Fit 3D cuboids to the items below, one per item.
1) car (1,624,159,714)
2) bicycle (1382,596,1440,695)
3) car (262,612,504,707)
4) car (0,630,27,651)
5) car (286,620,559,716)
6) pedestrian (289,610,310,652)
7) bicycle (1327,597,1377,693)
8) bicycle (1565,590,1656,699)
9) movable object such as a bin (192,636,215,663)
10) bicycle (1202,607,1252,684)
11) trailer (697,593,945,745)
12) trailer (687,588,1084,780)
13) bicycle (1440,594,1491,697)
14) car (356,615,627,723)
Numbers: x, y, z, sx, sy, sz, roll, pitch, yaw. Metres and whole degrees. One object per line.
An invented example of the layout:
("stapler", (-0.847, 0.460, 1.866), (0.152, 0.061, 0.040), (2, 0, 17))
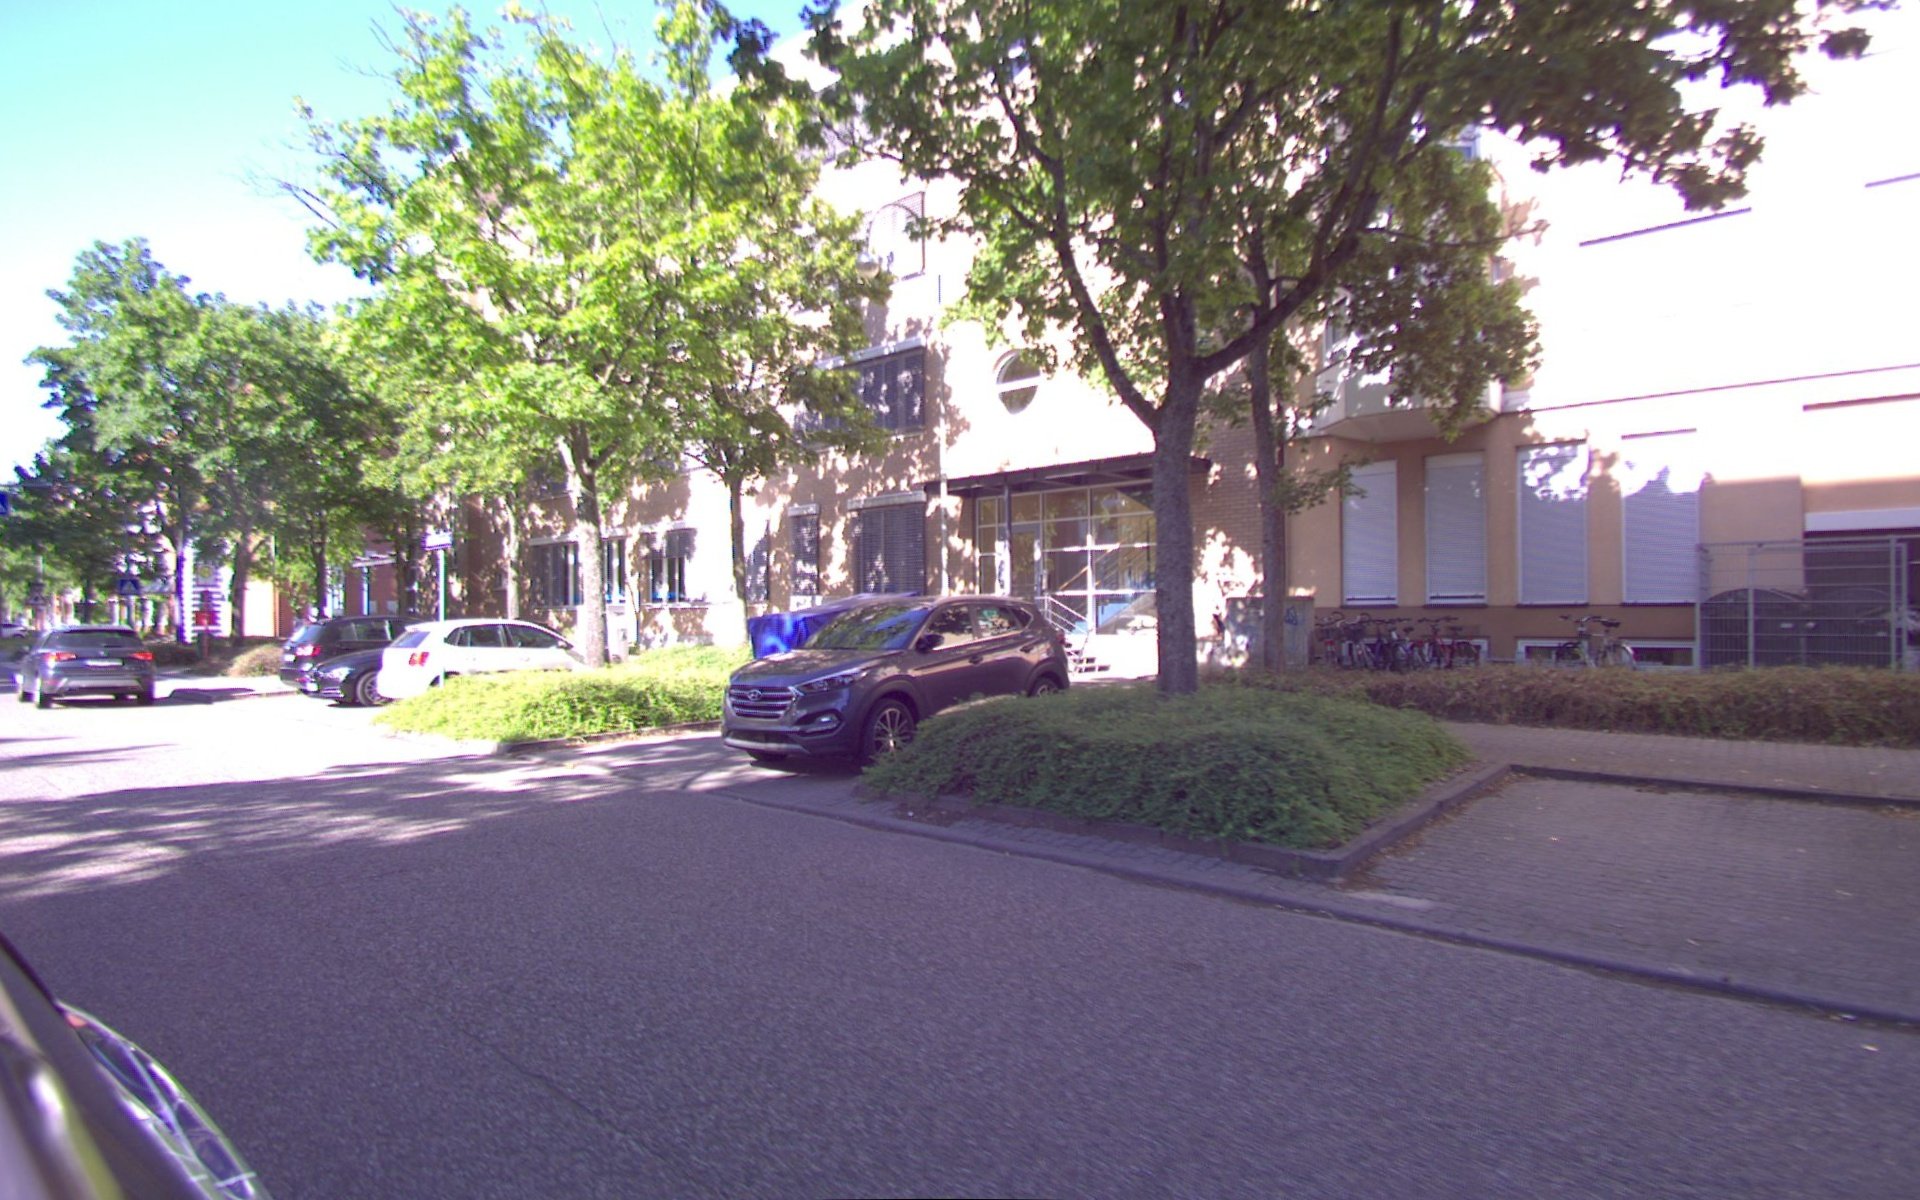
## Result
("car", (-16.879, 1.237, 19.354), (3.998, 1.523, 1.761), (-2, -2, 41))
("bicycle", (6.926, 0.664, 15.604), (0.609, 1.419, 1.720), (-1, 0, 18))
("car", (-11.754, 1.136, 20.807), (1.727, 1.582, 3.947), (-2, 1, 40))
("car", (-67.709, 2.833, 70.375), (1.617, 1.430, 3.953), (-2, 0, 40))
("car", (-9.908, 1.173, 18.906), (1.800, 1.413, 4.109), (-2, 0, 40))
("pedestrian", (-31.653, 1.476, 48.479), (0.673, 1.930, 0.615), (15, 10, 41))
("bicycle", (6.171, 0.676, 15.998), (0.609, 1.419, 1.720), (-1, 0, 18))
("bicycle", (8.990, 0.577, 14.052), (0.609, 1.419, 1.720), (-1, 0, 18))
("movable object such as a bin", (-21.358, 1.388, 28.566), (0.435, 0.736, 0.409), (-1, 0, -25))
("bicycle", (4.676, 0.771, 17.663), (0.449, 1.238, 1.681), (-1, 0, 28))
("trailer", (-1.753, 0.797, 13.128), (1.711, 1.700, 2.697), (-2, 0, 41))
("trailer", (-0.575, 0.704, 10.742), (1.853, 1.584, 4.221), (-2, 0, 37))
("bicycle", (7.491, 0.639, 15.015), (0.611, 1.419, 1.714), (-1, 0, 27))
("car", (-7.736, 1.054, 16.933), (1.754, 1.463, 3.715), (-2, 0, 42))
